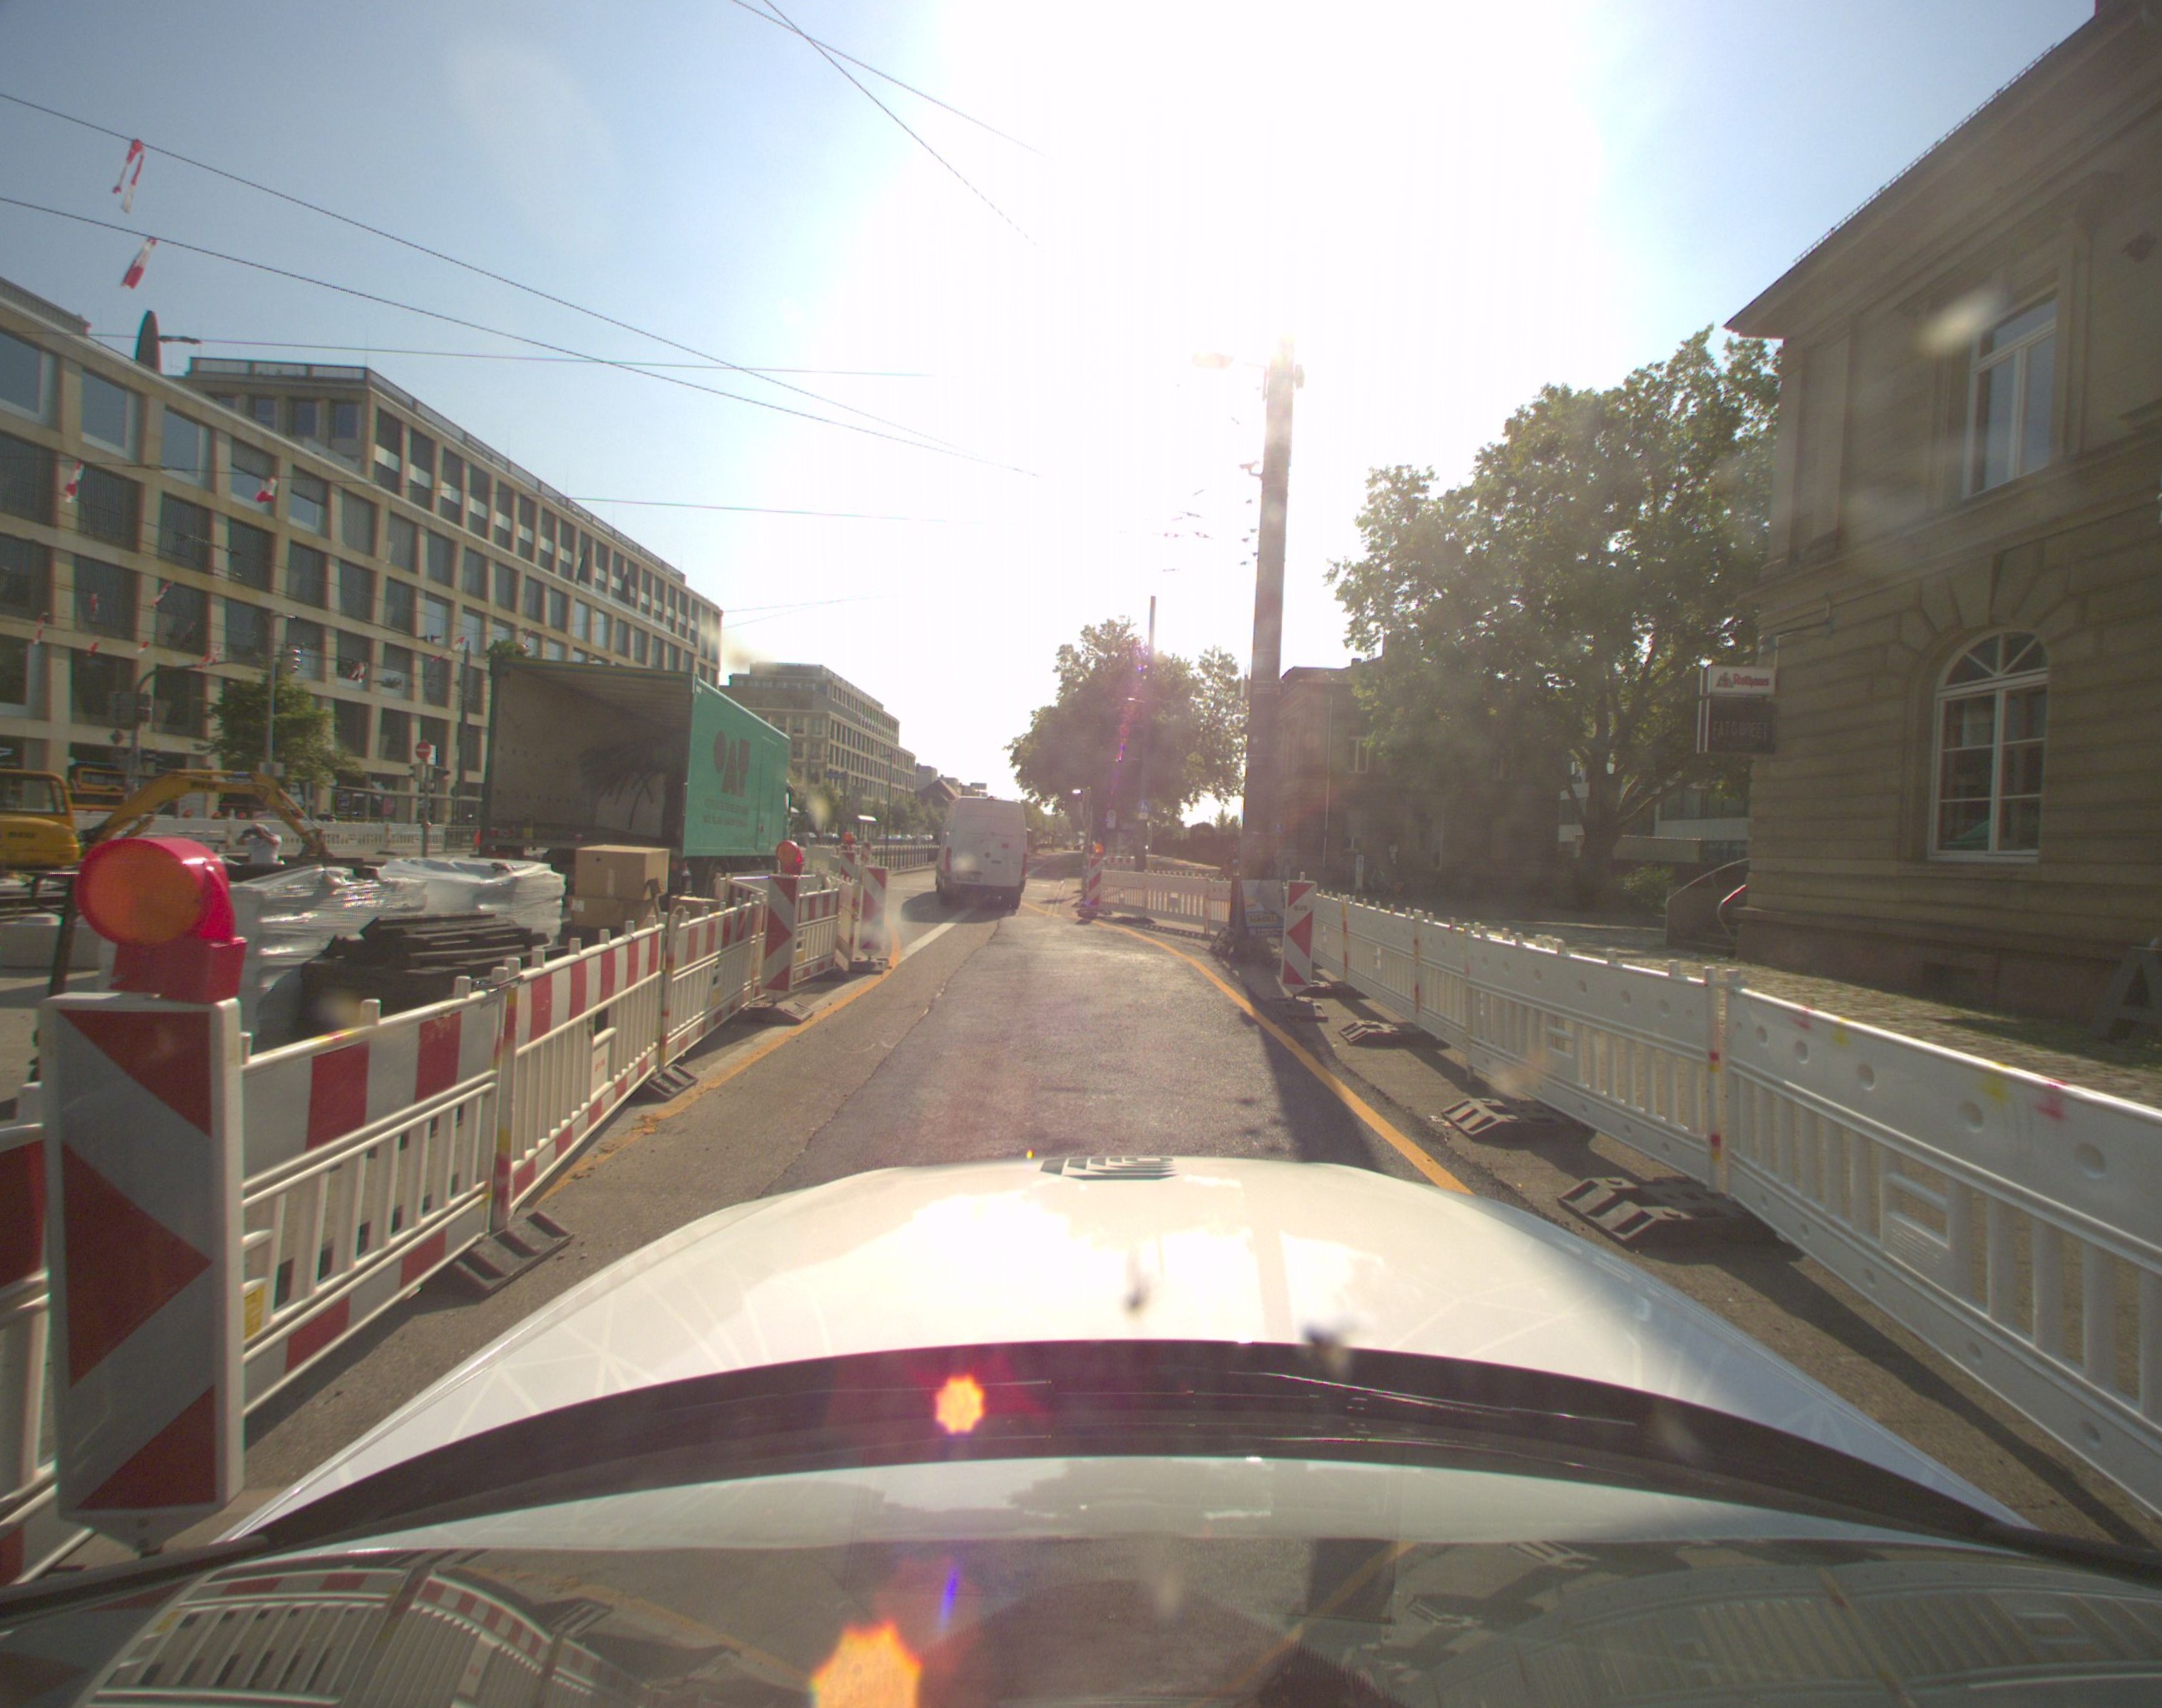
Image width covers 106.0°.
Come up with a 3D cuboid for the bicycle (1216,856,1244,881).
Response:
[{"bbox_3d":[7.039,0.658,38.662,0.492,1.088,1.848,3,1,-16],"label":"bicycle"}]

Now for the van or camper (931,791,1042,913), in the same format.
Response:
[{"bbox_3d":[-2.645,-0.114,21.436,2.118,2.681,5.227,4,1,-13],"label":"van or camper"}]

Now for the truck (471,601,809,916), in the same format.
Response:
[{"bbox_3d":[-7.180,-1.354,14.933,2.793,3.911,8.388,5,1,-11],"label":"truck"}]

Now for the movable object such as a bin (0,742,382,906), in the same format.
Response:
[{"bbox_3d":[-21.266,-0.662,18.220,3.601,2.957,8.478,5,0,1],"label":"movable object such as a bin"}]

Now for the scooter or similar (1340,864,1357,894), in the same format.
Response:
[{"bbox_3d":[11.317,1.051,34.457,0.423,1.228,1.176,3,1,8],"label":"scooter or similar"}]

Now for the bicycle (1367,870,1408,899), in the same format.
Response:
[{"bbox_3d":[12.644,1.251,33.610,0.492,0.999,1.808,3,3,-18],"label":"bicycle"}]

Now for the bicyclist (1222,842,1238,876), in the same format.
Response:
[{"bbox_3d":[7.079,0.225,38.620,0.470,1.539,0.593,3,1,-16],"label":"bicyclist"}]
